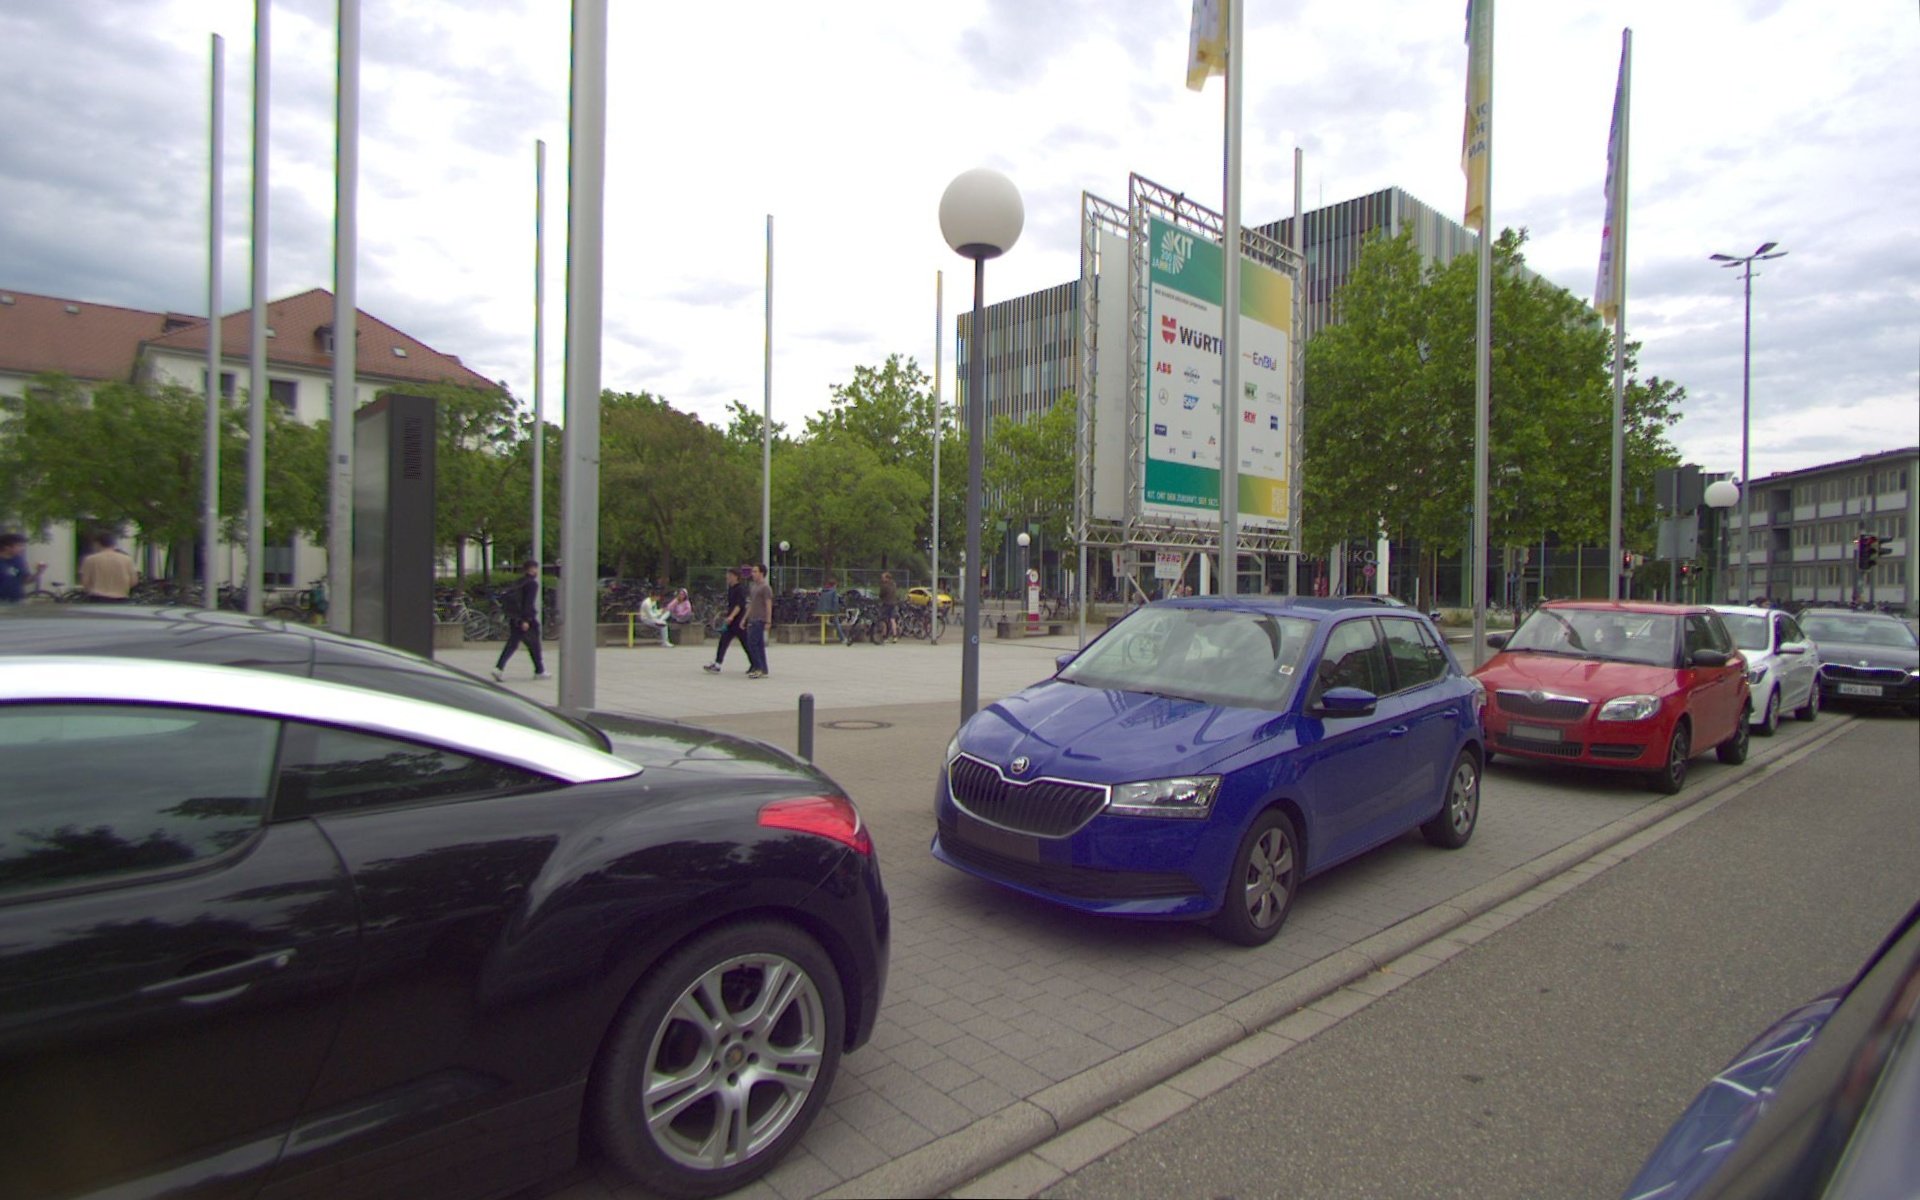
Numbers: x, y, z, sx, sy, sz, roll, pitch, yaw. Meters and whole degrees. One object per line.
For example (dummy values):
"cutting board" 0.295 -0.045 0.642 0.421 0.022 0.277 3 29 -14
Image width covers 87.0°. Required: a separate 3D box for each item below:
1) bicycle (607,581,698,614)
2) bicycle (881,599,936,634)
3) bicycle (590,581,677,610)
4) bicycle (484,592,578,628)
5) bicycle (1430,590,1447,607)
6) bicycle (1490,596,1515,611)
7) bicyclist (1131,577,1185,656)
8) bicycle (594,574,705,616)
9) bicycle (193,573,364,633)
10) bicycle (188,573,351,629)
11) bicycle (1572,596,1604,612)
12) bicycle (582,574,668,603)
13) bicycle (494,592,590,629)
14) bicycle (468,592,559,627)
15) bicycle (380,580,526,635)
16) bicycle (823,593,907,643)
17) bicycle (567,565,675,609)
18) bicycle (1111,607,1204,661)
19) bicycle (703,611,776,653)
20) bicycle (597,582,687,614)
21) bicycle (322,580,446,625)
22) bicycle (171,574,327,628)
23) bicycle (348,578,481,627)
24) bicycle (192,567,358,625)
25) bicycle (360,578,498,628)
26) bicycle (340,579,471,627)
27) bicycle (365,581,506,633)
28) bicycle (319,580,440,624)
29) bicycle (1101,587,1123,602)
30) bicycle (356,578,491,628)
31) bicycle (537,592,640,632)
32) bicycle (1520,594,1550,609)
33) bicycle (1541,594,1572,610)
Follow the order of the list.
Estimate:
"bicycle" -12.301 -0.073 40.570 3.330 1.185 1.055 3 -2 -36
"bicycle" -1.587 0.505 31.491 0.456 1.062 1.905 2 1 43
"bicycle" -13.704 -0.218 42.502 3.331 1.184 1.055 -1 1 -36
"bicycle" -15.687 0.379 37.049 3.052 1.185 0.747 3 -2 -40
"bicycle" 31.675 -0.095 66.979 0.476 1.058 1.912 1 2 9
"bicycle" 35.347 0.202 65.963 0.474 0.948 2.011 1 1 -2
"bicyclist" 4.283 0.347 21.917 0.850 1.662 0.877 1 0 -10
"bicycle" -9.038 -0.149 29.575 3.053 1.185 0.747 0 1 -40
"bicycle" -15.141 0.090 22.567 3.052 1.185 0.747 3 -2 -40
"bicycle" -16.159 0.055 23.767 3.052 1.185 0.747 3 -2 -40
"bicycle" 40.600 0.274 65.443 0.474 0.947 2.014 0 2 -10
"bicycle" -14.353 -0.491 43.428 3.330 1.184 1.055 0 1 -36
"bicycle" -14.910 0.381 36.142 3.052 1.185 0.747 3 -2 -40
"bicycle" -16.919 0.374 38.407 3.052 1.185 0.747 3 -2 -40
"bicycle" -12.214 0.205 24.482 3.052 1.185 0.621 3 -2 -40
"bicycle" -2.374 0.480 25.706 0.455 1.185 2.375 0 -3 43
"bicycle" -10.446 -0.380 31.289 3.052 1.185 0.747 3 -2 -40
"bicycle" 4.267 0.721 21.919 1.764 1.107 0.877 1 0 -9
"bicycle" -5.758 0.818 26.508 0.456 1.062 1.905 2 1 43
"bicycle" -13.049 -0.071 41.608 3.330 1.185 1.055 3 -2 -36
"bicycle" -16.952 0.089 29.878 3.053 1.185 0.746 3 -2 -41
"bicycle" -17.530 0.042 25.035 3.052 1.185 0.747 3 -2 -40
"bicycle" -14.759 0.099 27.475 3.052 1.185 0.747 3 -2 -40
"bicycle" -15.637 -0.057 23.181 3.052 1.185 0.747 3 -2 -40
"bicycle" -13.743 0.102 26.306 3.052 1.185 0.747 3 -2 -40
"bicycle" -15.316 0.095 28.028 3.052 1.185 0.747 3 -2 -40
"bicycle" -13.199 0.201 25.560 3.052 1.185 0.747 3 -2 -40
"bicycle" -17.442 0.089 30.484 3.053 1.185 0.746 3 -2 -41
"bicycle" 12.830 -0.477 85.391 2.069 1.275 0.627 0 1 -44
"bicycle" -14.223 0.102 26.924 3.052 1.185 0.747 3 -2 -40
"bicycle" -12.046 0.392 32.948 3.052 1.185 0.747 3 -2 -40
"bicycle" 37.132 0.092 65.354 0.474 0.947 2.014 0 2 -10
"bicycle" 38.453 0.134 65.276 0.474 0.947 2.014 0 2 -10
